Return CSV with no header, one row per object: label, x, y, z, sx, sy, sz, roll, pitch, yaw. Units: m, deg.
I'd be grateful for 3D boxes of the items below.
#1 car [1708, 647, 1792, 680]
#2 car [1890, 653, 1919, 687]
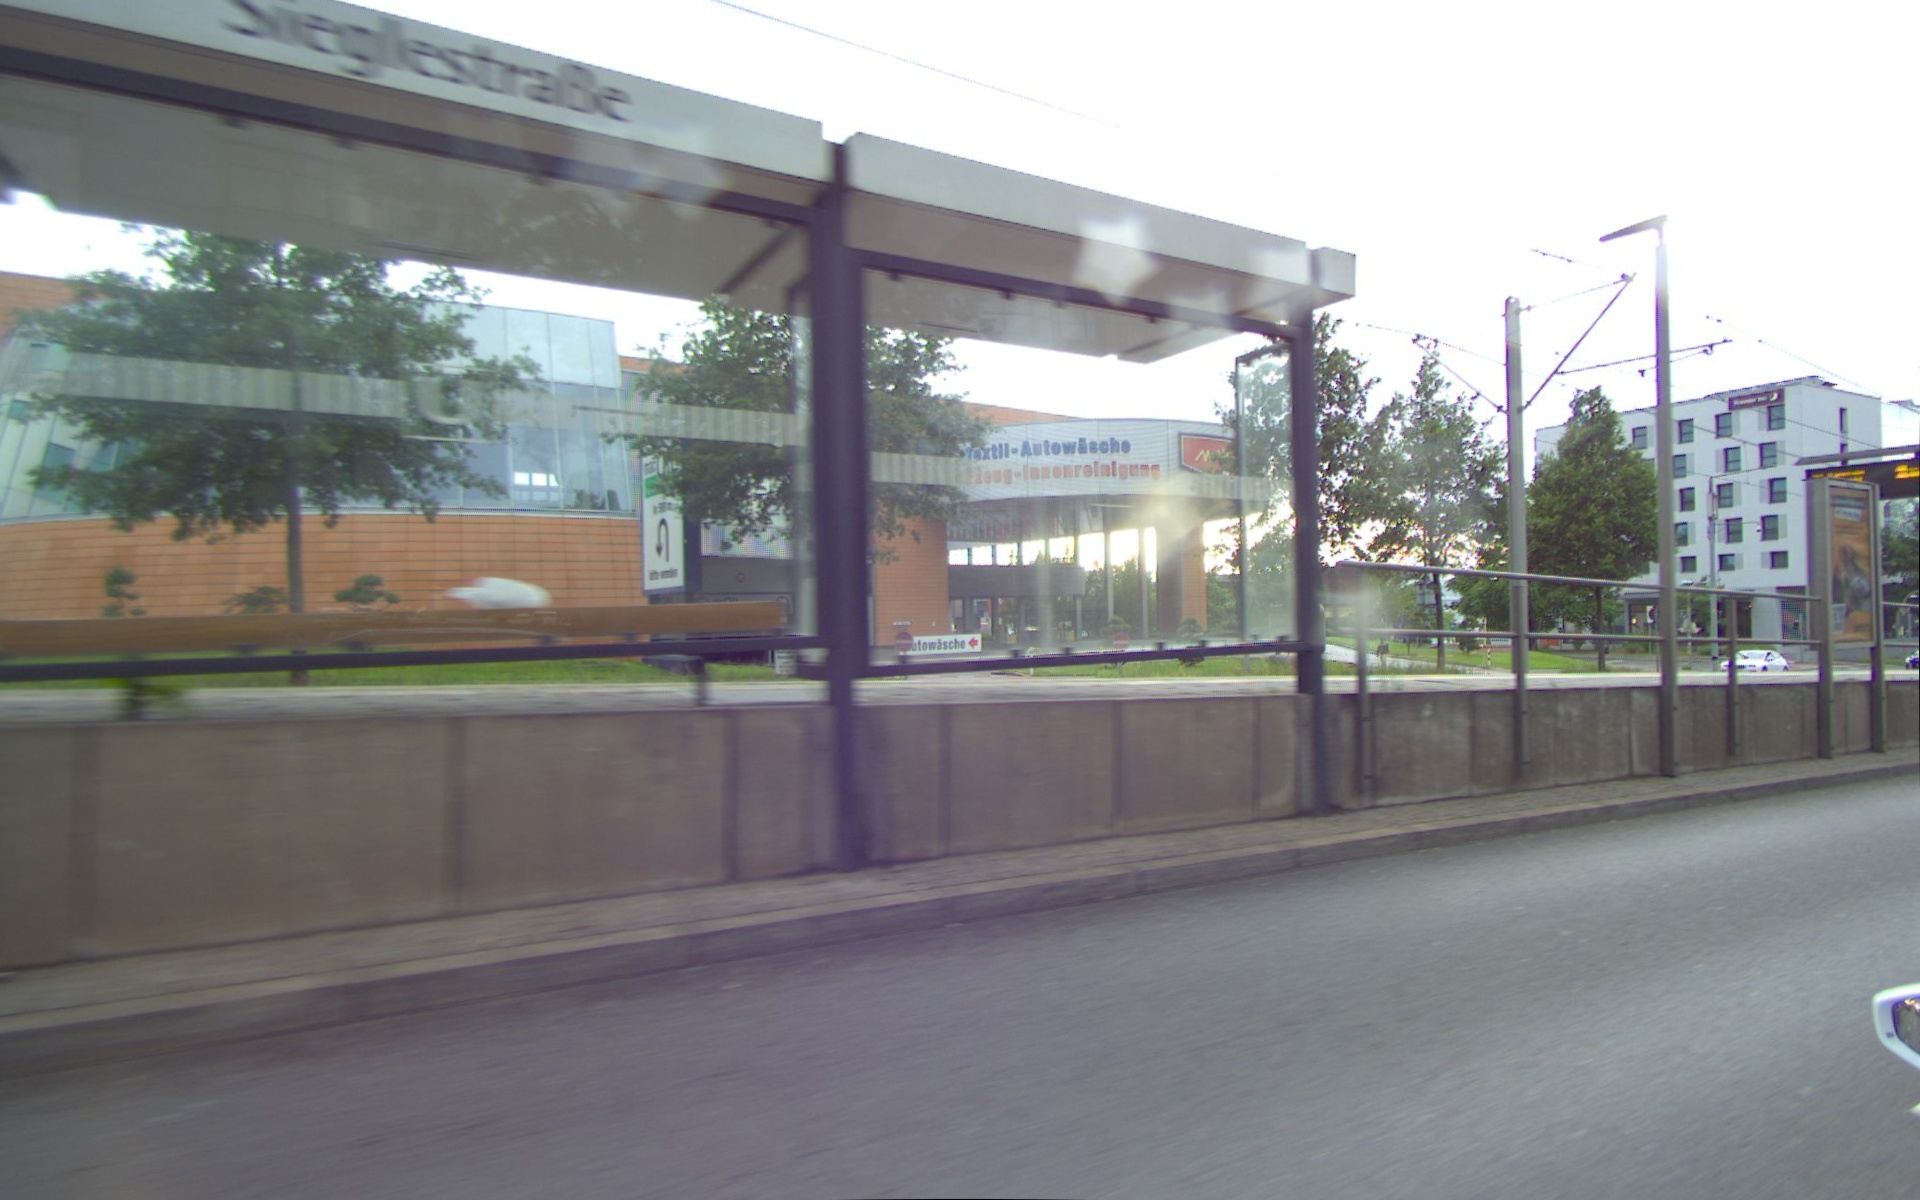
car,40.890,3.257,51.959,4.656,1.538,1.982,2,0,-32
car,54.714,3.939,56.795,4.337,1.798,1.984,2,-2,-30
